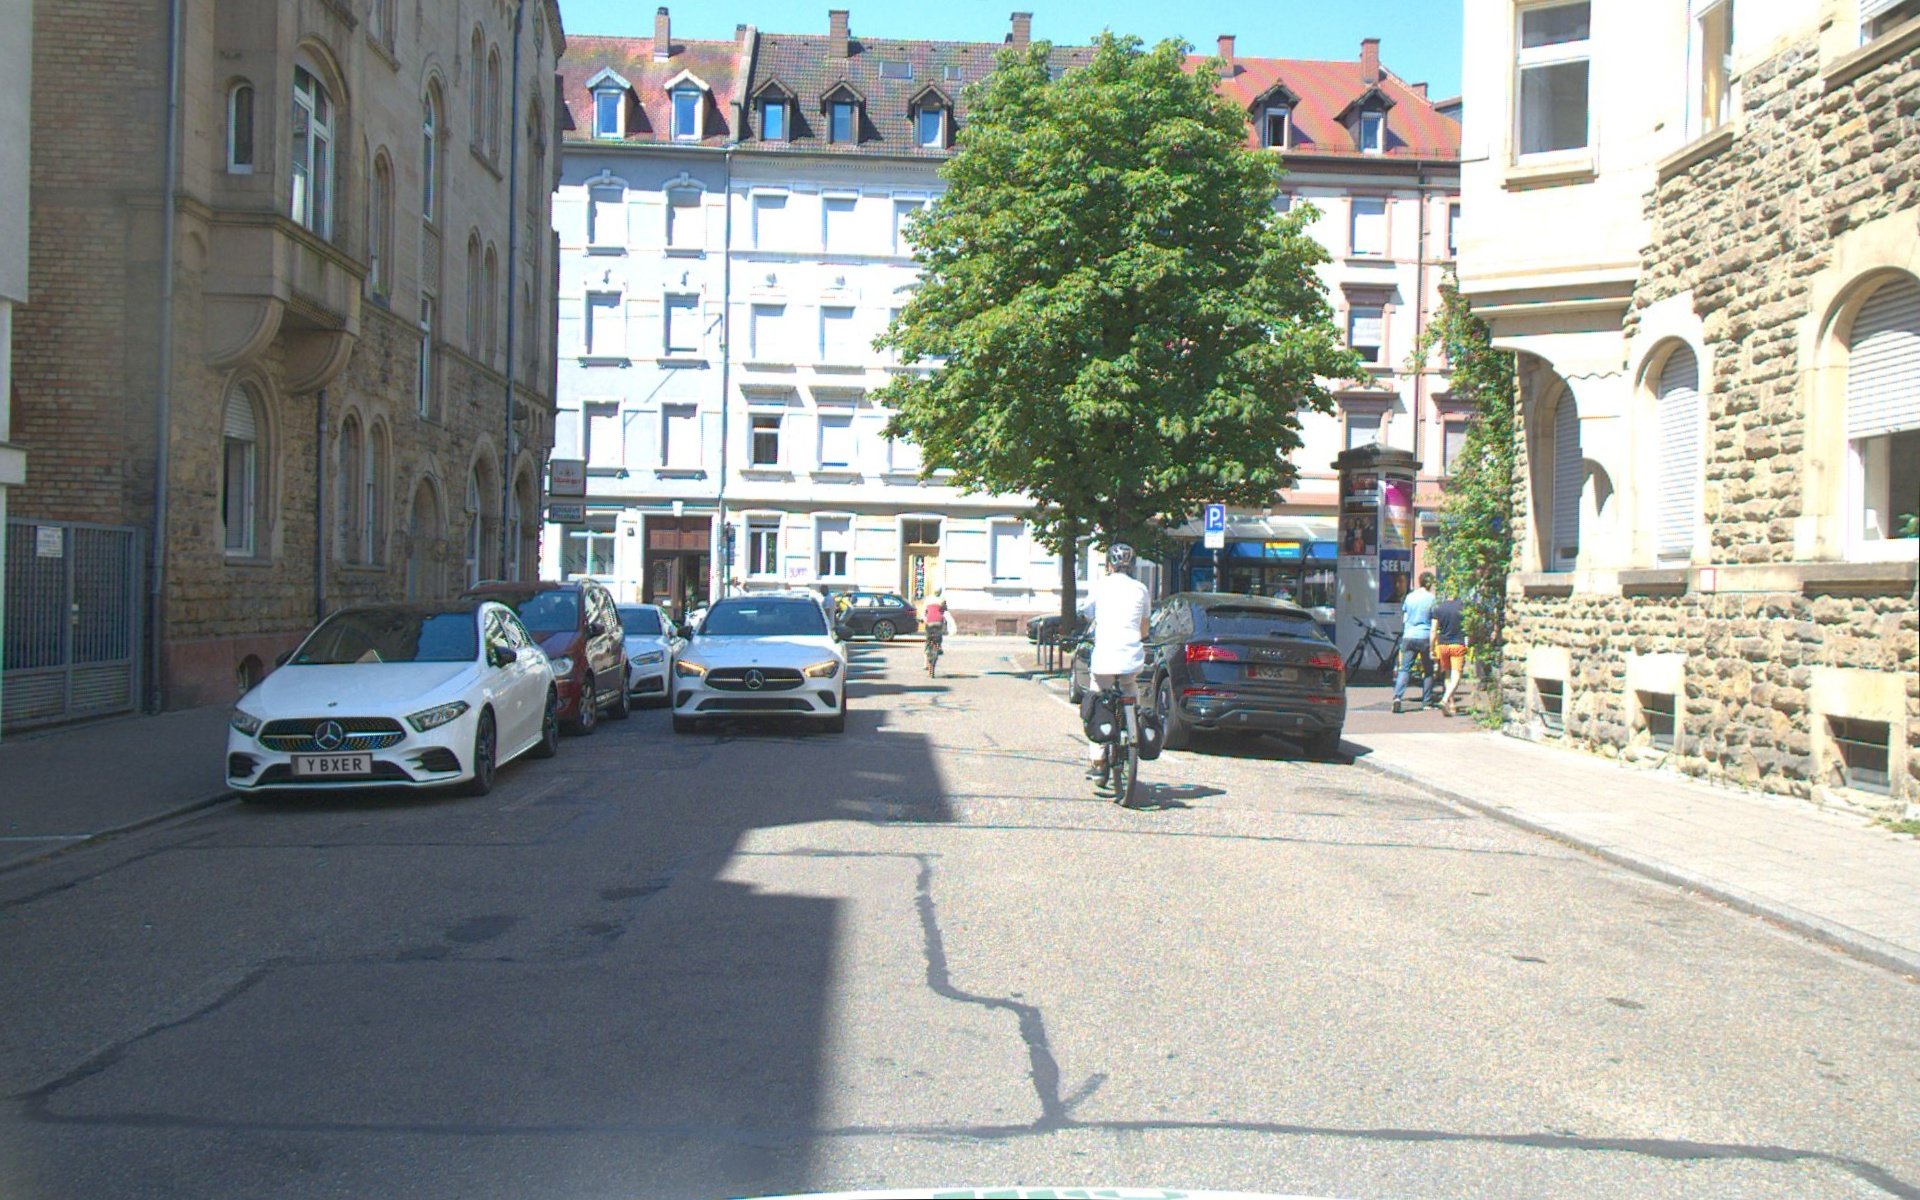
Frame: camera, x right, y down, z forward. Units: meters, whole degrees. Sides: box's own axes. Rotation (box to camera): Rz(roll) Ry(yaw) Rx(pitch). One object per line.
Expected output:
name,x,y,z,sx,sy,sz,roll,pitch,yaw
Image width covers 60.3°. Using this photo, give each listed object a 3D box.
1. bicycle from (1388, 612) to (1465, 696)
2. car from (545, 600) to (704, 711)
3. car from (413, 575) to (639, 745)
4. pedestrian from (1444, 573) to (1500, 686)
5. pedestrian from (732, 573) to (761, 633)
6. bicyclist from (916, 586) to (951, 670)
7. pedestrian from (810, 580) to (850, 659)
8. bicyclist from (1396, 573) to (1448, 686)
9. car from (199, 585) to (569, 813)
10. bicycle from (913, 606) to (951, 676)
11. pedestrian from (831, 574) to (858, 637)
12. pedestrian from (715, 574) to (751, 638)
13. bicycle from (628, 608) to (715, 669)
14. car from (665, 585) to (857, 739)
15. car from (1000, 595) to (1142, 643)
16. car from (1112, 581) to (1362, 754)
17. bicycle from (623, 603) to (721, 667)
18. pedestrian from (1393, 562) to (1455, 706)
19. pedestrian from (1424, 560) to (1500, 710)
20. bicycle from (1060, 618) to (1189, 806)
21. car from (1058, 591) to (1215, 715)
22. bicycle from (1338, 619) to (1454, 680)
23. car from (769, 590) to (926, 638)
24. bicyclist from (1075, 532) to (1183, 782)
bicycle,7.090,0.786,25.058,0.778,1.189,2.577,0,0,23
car,-4.649,0.715,23.499,1.668,1.376,4.511,-1,0,-5
car,-4.635,0.583,18.206,1.639,1.610,4.049,-1,0,-4
pedestrian,8.381,0.477,27.057,0.743,1.825,0.574,0,0,-41
pedestrian,-6.631,0.099,51.441,0.884,1.846,0.959,0,0,-8
bicyclist,-0.497,0.525,31.303,0.657,1.560,0.609,0,0,-2
pedestrian,-2.851,0.421,36.249,0.840,1.701,0.774,0,0,-2
bicyclist,6.964,0.441,24.930,0.664,1.676,0.661,0,0,25
car,-4.397,0.663,13.336,1.741,1.485,4.275,-1,0,-4
bicycle,-0.531,0.752,31.245,0.638,1.230,2.441,2,0,-1
pedestrian,-3.495,0.172,50.130,0.712,1.886,0.683,0,0,-12
pedestrian,-6.909,0.183,50.380,0.832,1.922,0.936,0,0,8
bicycle,-5.281,0.700,30.319,1.496,1.025,0.366,3,0,-7
car,-2.124,0.617,18.707,1.804,1.486,4.360,-1,0,-3
car,3.419,0.579,51.370,4.208,1.394,1.806,0,3,-3
car,2.923,0.654,18.378,1.701,1.624,4.344,3,0,-4
bicycle,-5.196,0.637,29.873,1.672,1.063,0.413,3,-1,-7
pedestrian,6.235,0.448,22.229,0.647,1.901,0.513,1,-1,-38
pedestrian,6.578,0.454,21.669,0.876,1.913,0.592,1,-1,-43
bicycle,1.215,0.792,12.716,0.638,1.250,2.440,2,0,-2
car,2.476,0.698,24.109,1.630,1.567,4.176,3,0,-2
bicycle,7.642,0.865,29.023,1.862,1.057,0.633,0,0,-2
car,-3.469,0.426,51.367,4.762,1.462,1.999,0,0,-3
bicyclist,1.247,0.416,12.322,0.657,1.791,0.609,2,0,-2
